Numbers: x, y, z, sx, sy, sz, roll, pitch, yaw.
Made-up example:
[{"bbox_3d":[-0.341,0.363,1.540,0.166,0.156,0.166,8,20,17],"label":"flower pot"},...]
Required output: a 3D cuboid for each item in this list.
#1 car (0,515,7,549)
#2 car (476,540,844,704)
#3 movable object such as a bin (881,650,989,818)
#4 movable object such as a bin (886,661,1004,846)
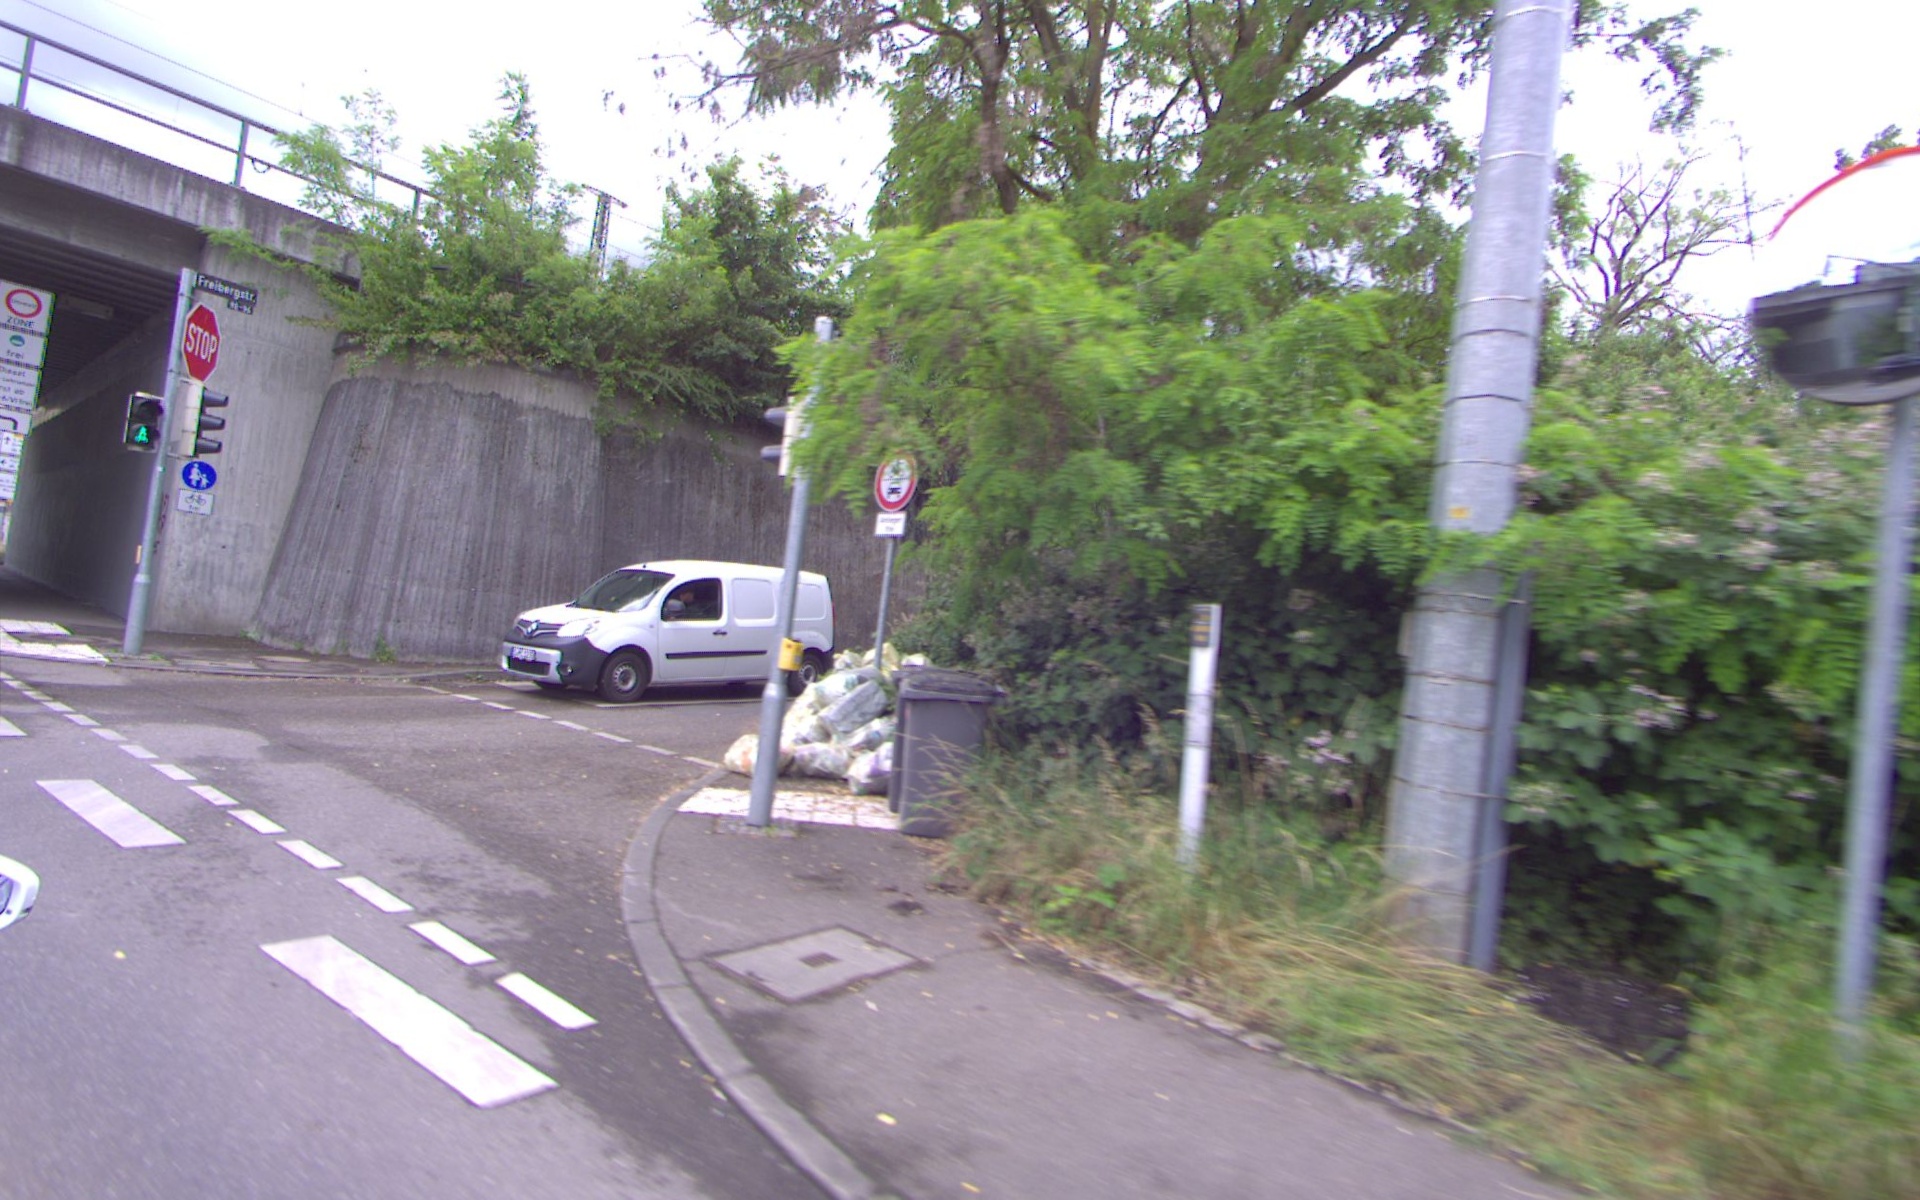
[{"bbox_3d":[-46.263,-3.332,46.931,1.984,1.636,3.962,9,-3,-36],"label":"car"},{"bbox_3d":[-3.818,0.348,13.549,1.800,1.807,4.477,4,-1,37],"label":"car"},{"bbox_3d":[-0.198,0.981,7.549,0.633,1.128,0.575,8,-2,-5],"label":"movable object such as a bin"},{"bbox_3d":[-0.117,1.026,6.902,0.633,1.128,0.575,8,-2,-5],"label":"movable object such as a bin"}]
